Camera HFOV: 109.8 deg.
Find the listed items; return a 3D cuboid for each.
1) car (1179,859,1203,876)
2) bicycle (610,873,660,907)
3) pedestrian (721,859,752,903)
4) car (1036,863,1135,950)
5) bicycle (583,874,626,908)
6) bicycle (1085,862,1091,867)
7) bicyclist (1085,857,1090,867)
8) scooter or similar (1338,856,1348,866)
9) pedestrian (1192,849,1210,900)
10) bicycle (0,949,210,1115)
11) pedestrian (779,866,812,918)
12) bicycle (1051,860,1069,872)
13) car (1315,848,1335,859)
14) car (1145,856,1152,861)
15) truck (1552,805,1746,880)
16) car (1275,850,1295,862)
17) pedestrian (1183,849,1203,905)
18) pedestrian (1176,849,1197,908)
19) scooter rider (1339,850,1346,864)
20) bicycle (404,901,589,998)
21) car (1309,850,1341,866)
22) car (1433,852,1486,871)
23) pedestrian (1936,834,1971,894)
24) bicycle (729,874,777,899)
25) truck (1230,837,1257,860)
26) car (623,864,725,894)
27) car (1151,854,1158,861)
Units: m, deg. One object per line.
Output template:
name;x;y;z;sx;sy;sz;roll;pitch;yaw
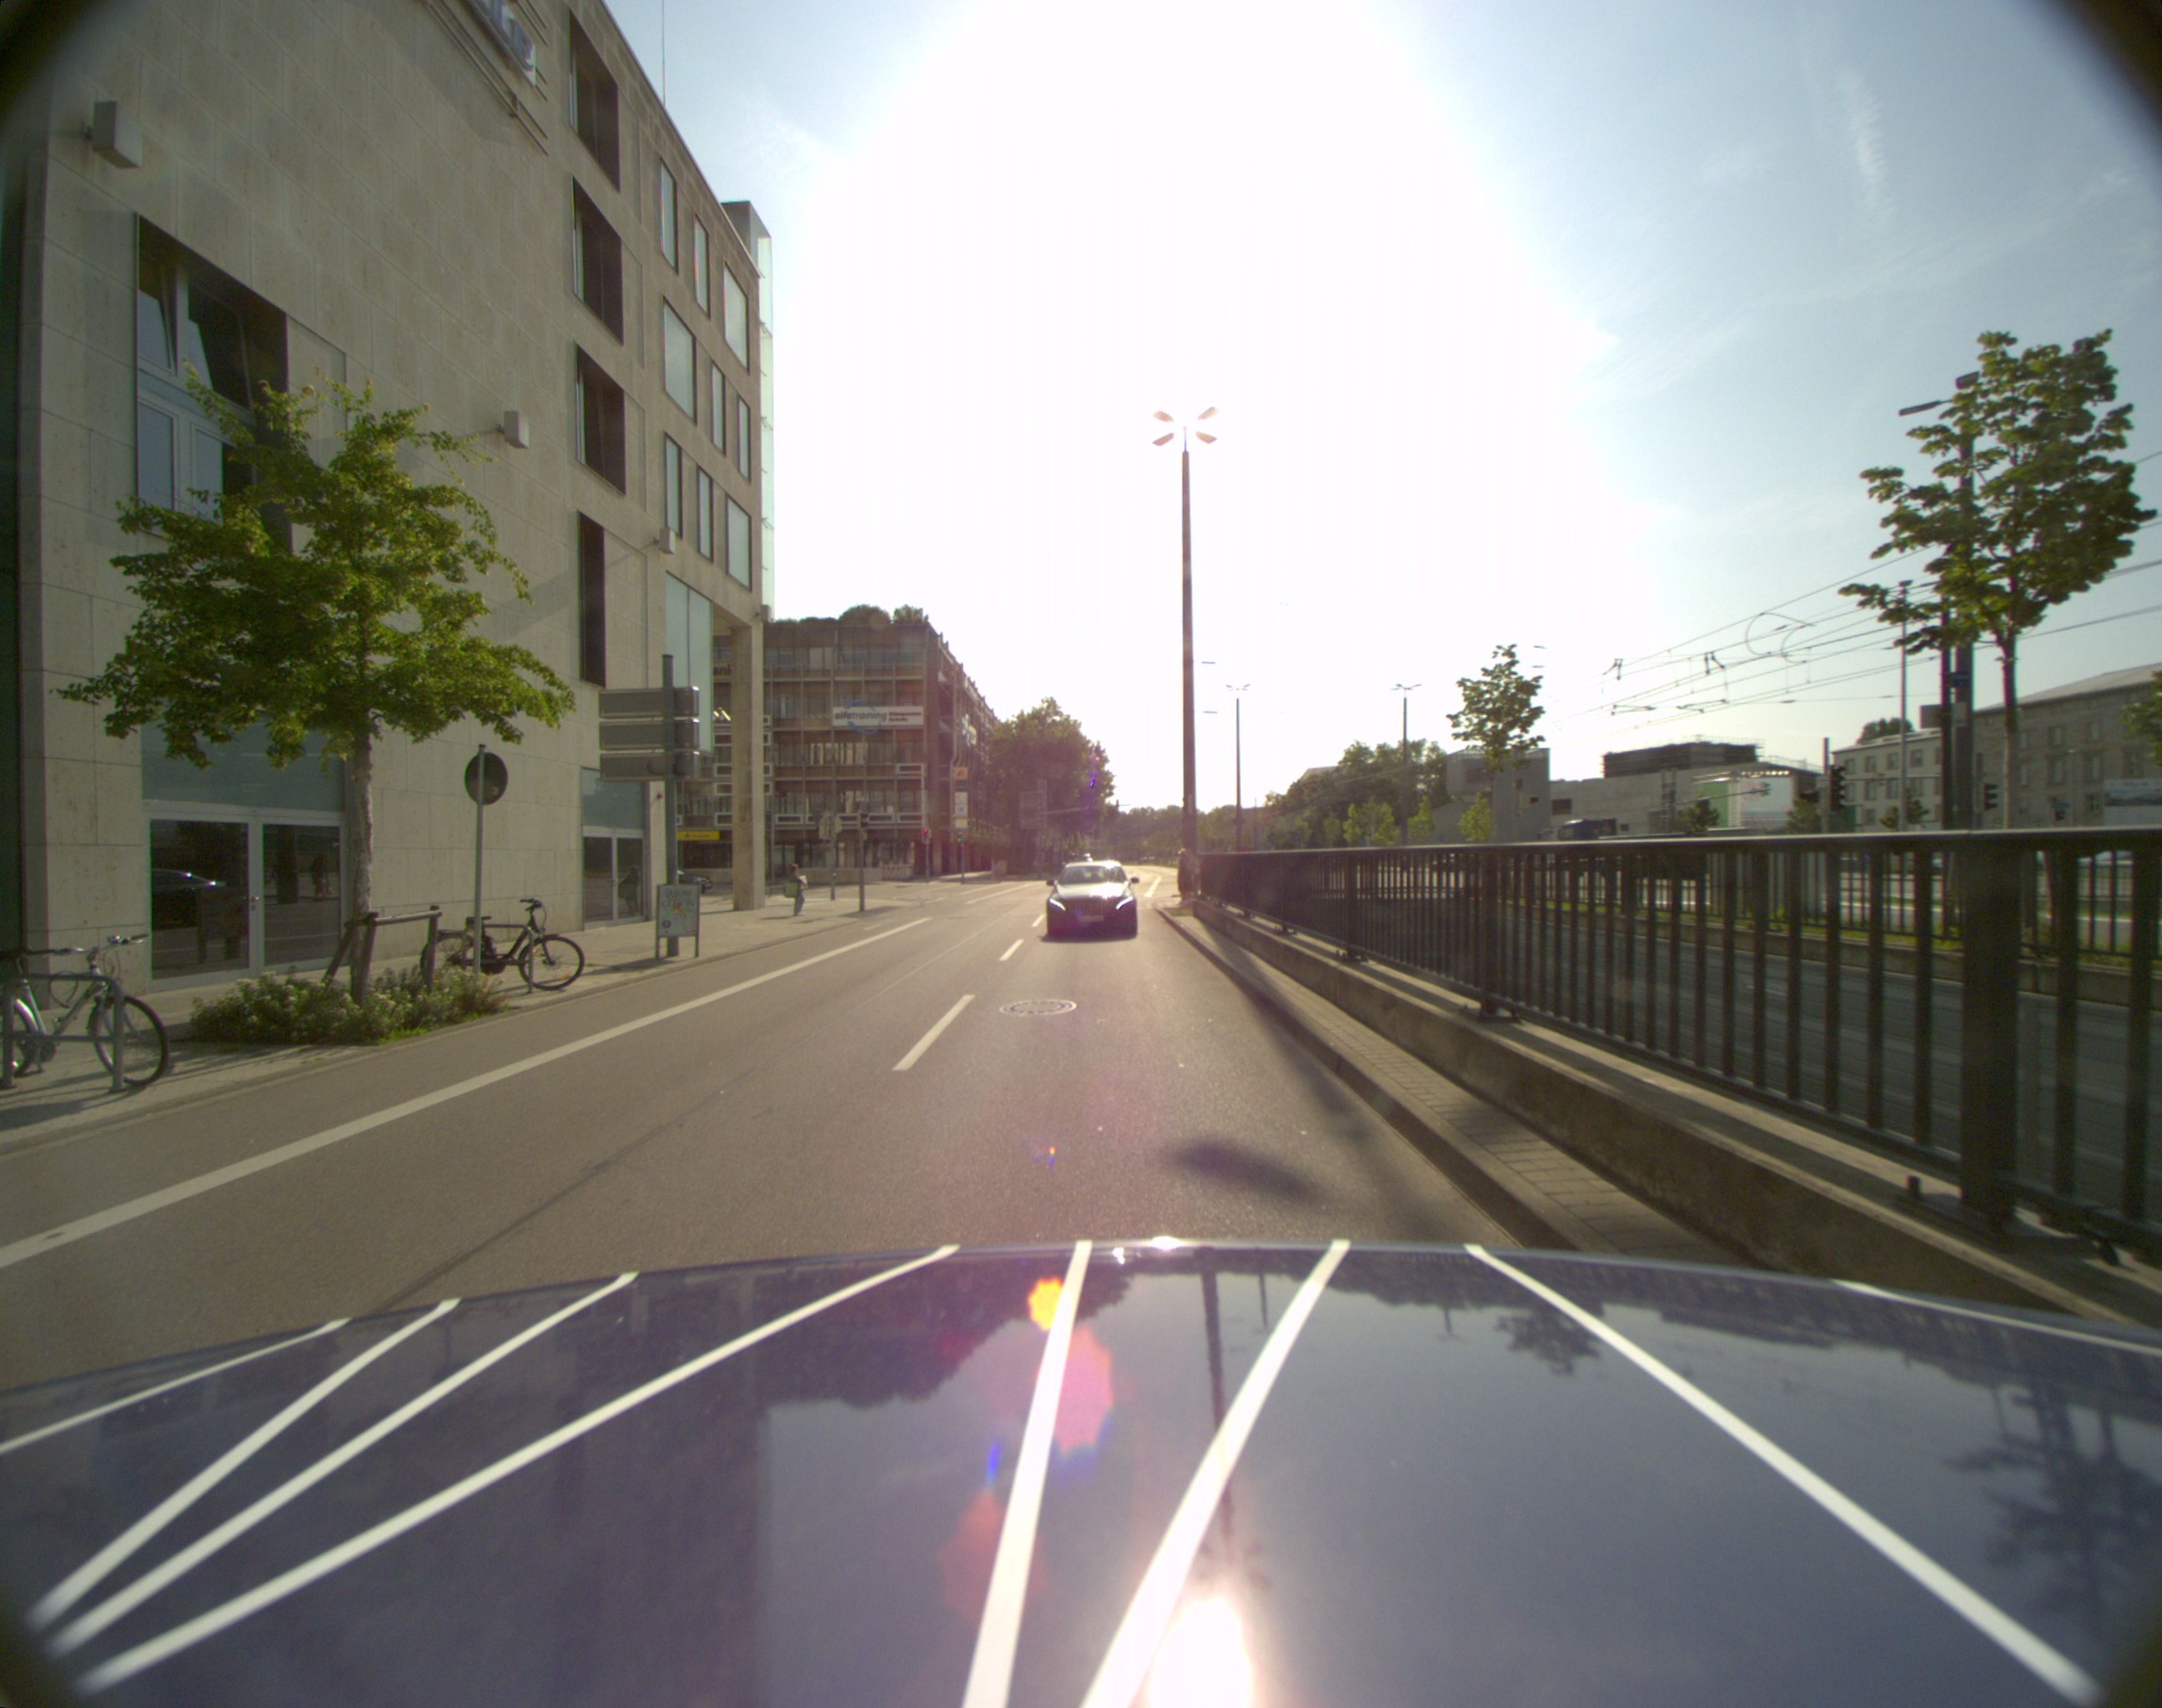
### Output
car;9.814;1.201;67.837;1.708;1.424;3.870;-3;0;2
bicycle;-17.496;1.400;29.838;0.614;1.230;2.070;-1;0;3
pedestrian;-13.606;1.059;30.038;0.644;1.701;0.990;-1;0;10
car;0.248;0.958;15.815;1.716;1.429;5.058;-1;0;4
bicycle;-18.233;1.405;29.126;0.501;1.192;1.793;-1;0;0
bicycle;1.042;1.557;115.273;0.630;0.702;1.808;-1;0;-8
bicyclist;1.022;1.188;115.301;0.612;1.504;0.813;-1;0;-8
scooter or similar;30.558;0.792;88.694;0.540;1.140;1.383;-1;0;-4
pedestrian;3.918;0.652;24.893;0.468;1.640;0.777;-1;0;1
bicycle;-7.629;1.291;5.618;1.882;1.103;0.490;-1;0;3
pedestrian;-8.243;1.083;21.941;0.709;1.478;0.604;-1;0;0
bicycle;-2.121;1.202;76.948;1.831;1.181;0.537;0;1;7
car;37.064;-0.096;115.583;1.644;1.592;3.999;-1;0;-2
car;21.731;1.486;245.725;1.998;1.523;4.000;-2;0;1
truck;30.251;-0.536;41.210;3.031;3.565;8.884;-1;0;-8
car;28.446;0.305;105.899;1.644;1.592;3.999;-1;0;-2
pedestrian;3.346;0.687;22.668;0.468;1.640;0.777;-1;0;1
pedestrian;2.999;0.686;21.681;0.468;1.640;0.777;-1;0;1
scooter rider;30.548;0.344;88.787;0.538;1.688;0.549;-1;0;-4
bicycle;-7.499;1.211;9.794;1.843;1.106;0.687;-2;0;3
car;27.247;0.461;85.074;1.621;1.778;4.515;-1;0;-7
car;29.002;0.572;58.328;1.600;1.339;4.422;-1;0;-4
pedestrian;24.681;0.271;21.506;0.371;1.666;0.641;-1;0;18
bicycle;-14.037;1.379;32.523;1.806;1.011;0.612;-1;0;2
truck;28.630;-0.938;134.133;2.978;3.787;10.424;-1;0;2
car;-19.605;1.199;36.667;3.900;1.359;1.878;-1;1;6
car;22.830;1.066;235.946;1.998;2.002;4.000;-2;0;1
